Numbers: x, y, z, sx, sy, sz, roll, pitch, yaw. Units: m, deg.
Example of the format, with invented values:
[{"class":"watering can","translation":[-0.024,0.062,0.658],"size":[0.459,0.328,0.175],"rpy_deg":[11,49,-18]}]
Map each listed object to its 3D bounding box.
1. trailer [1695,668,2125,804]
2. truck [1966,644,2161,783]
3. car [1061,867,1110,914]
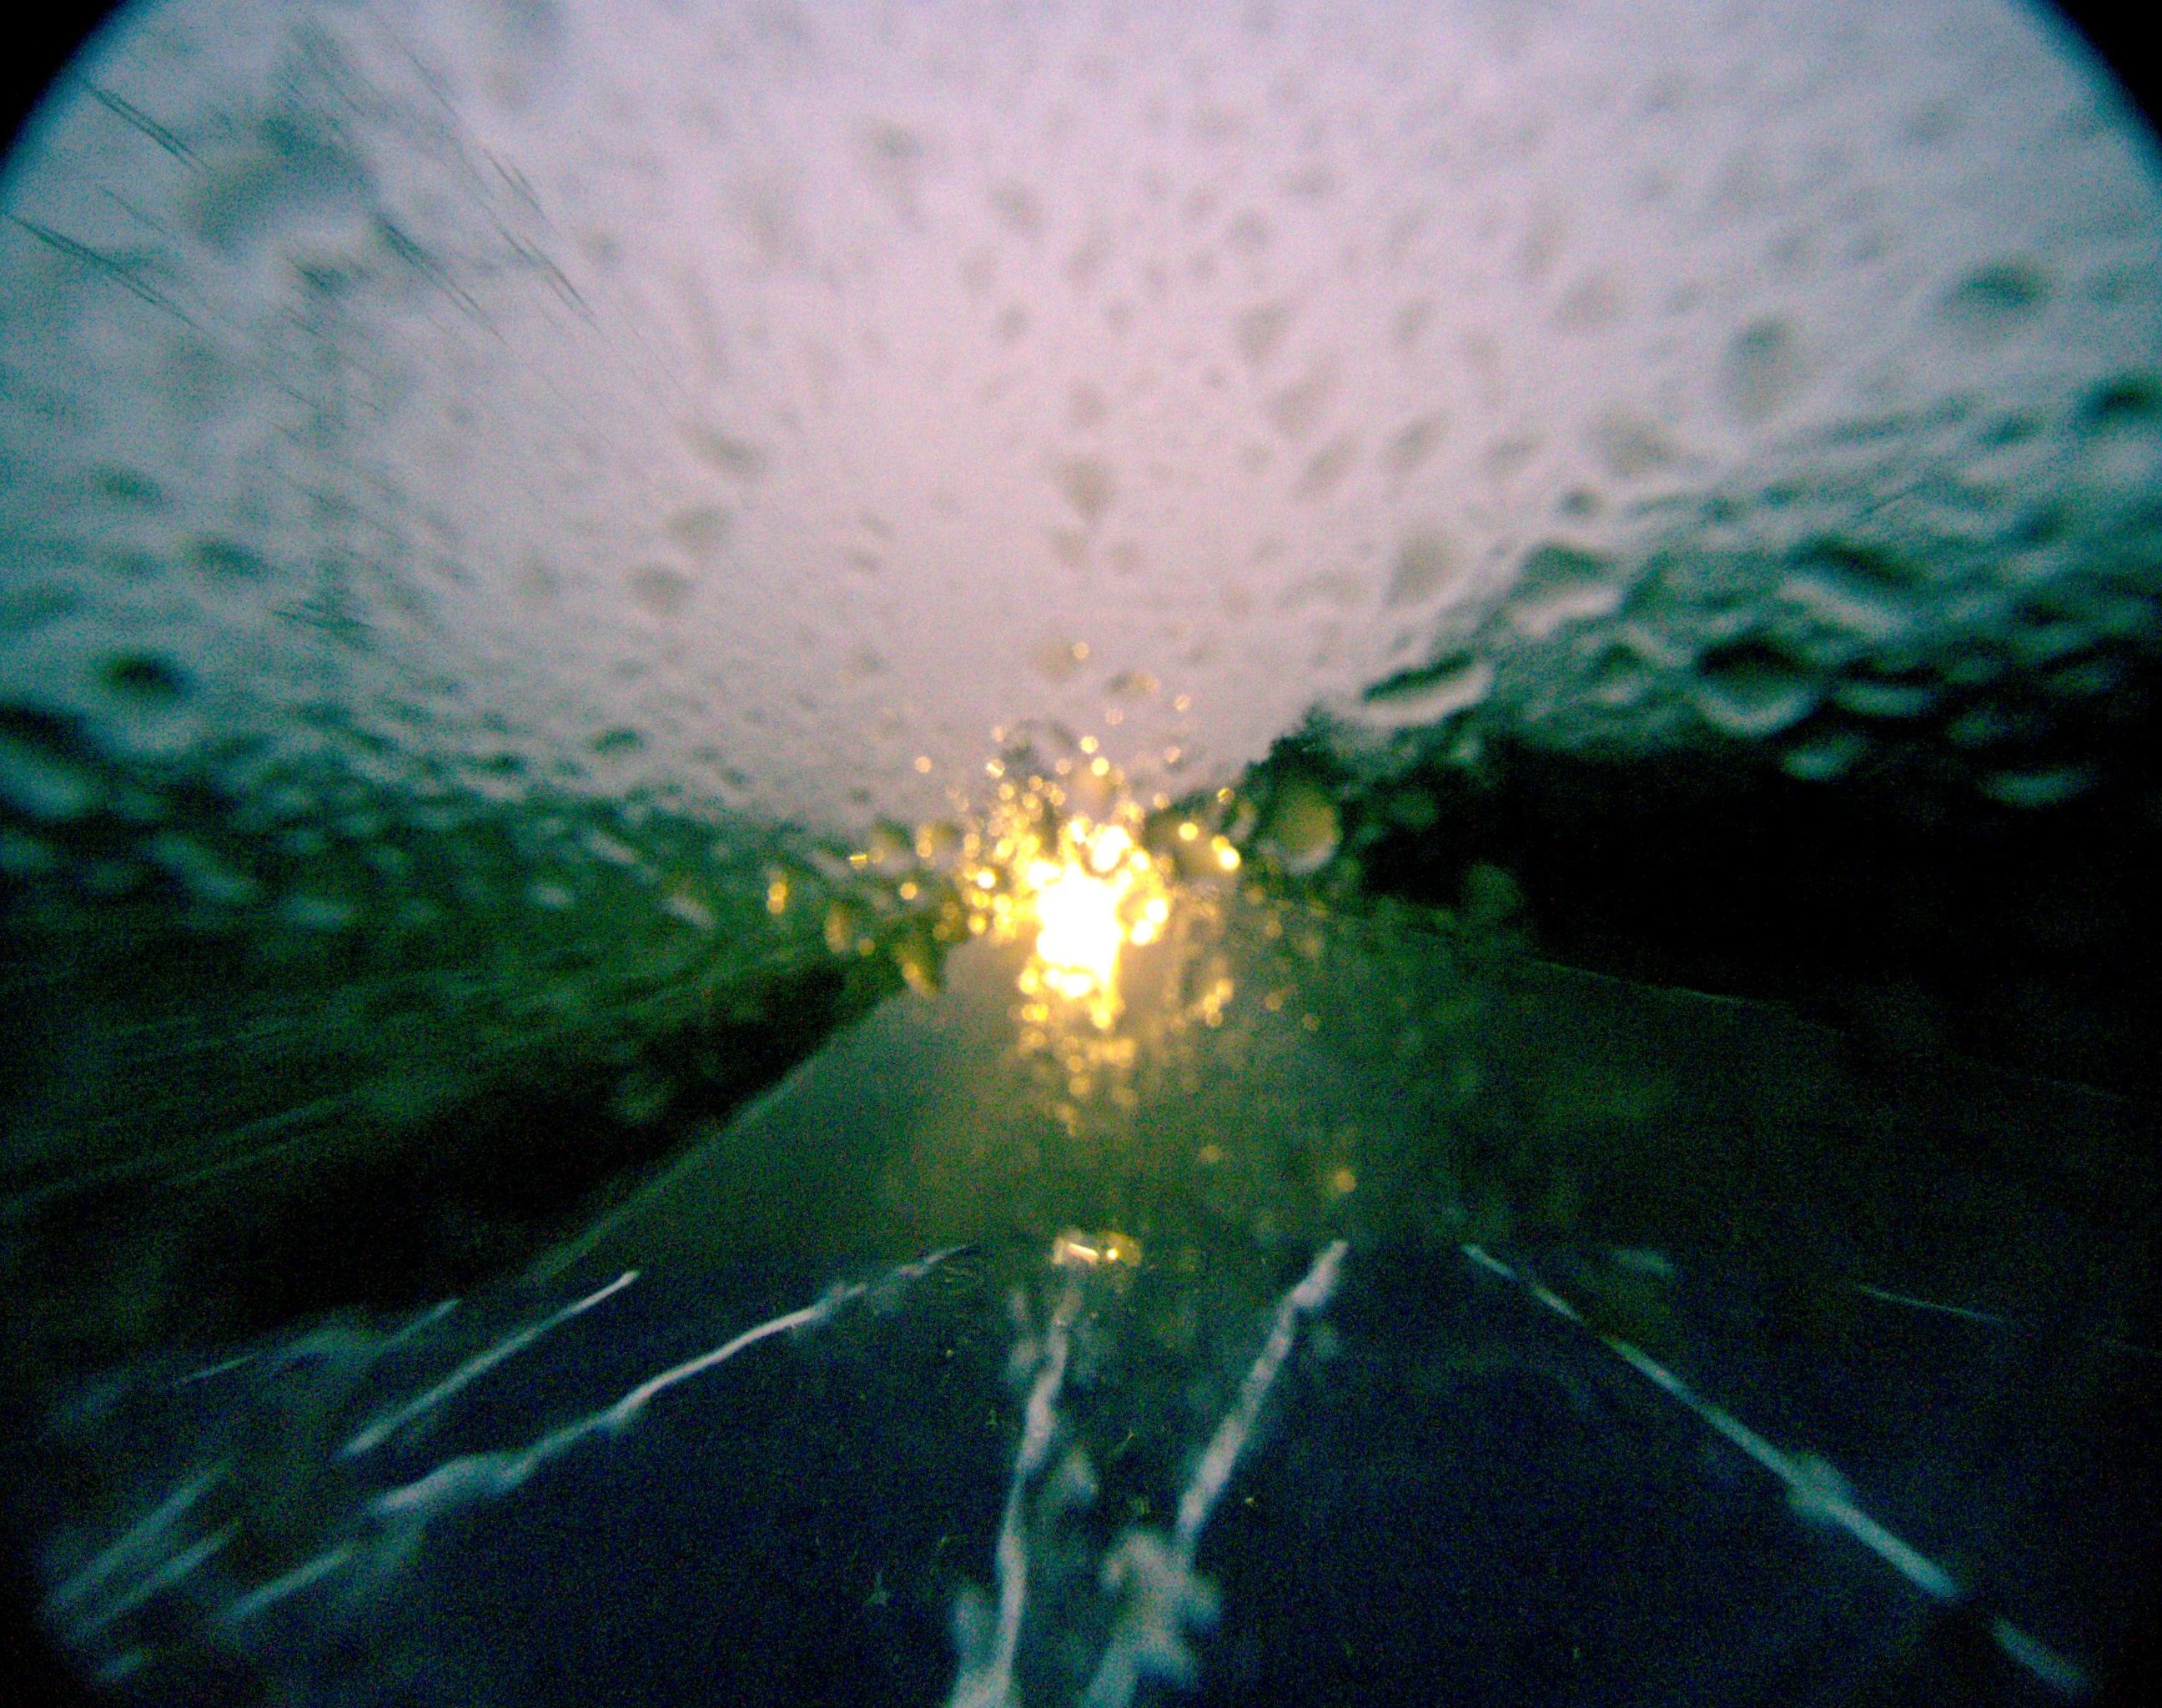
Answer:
[{"class":"trailer","translation":[26.302,-3.468,25.541],"size":[2.442,2.874,11.084],"rpy_deg":[-1,0,0]},{"class":"truck","translation":[26.248,-3.453,18.699],"size":[2.456,2.870,5.583],"rpy_deg":[-1,0,0]},{"class":"car","translation":[0.228,1.527,32.712],"size":[1.910,1.653,3.999],"rpy_deg":[-3,1,1]}]
